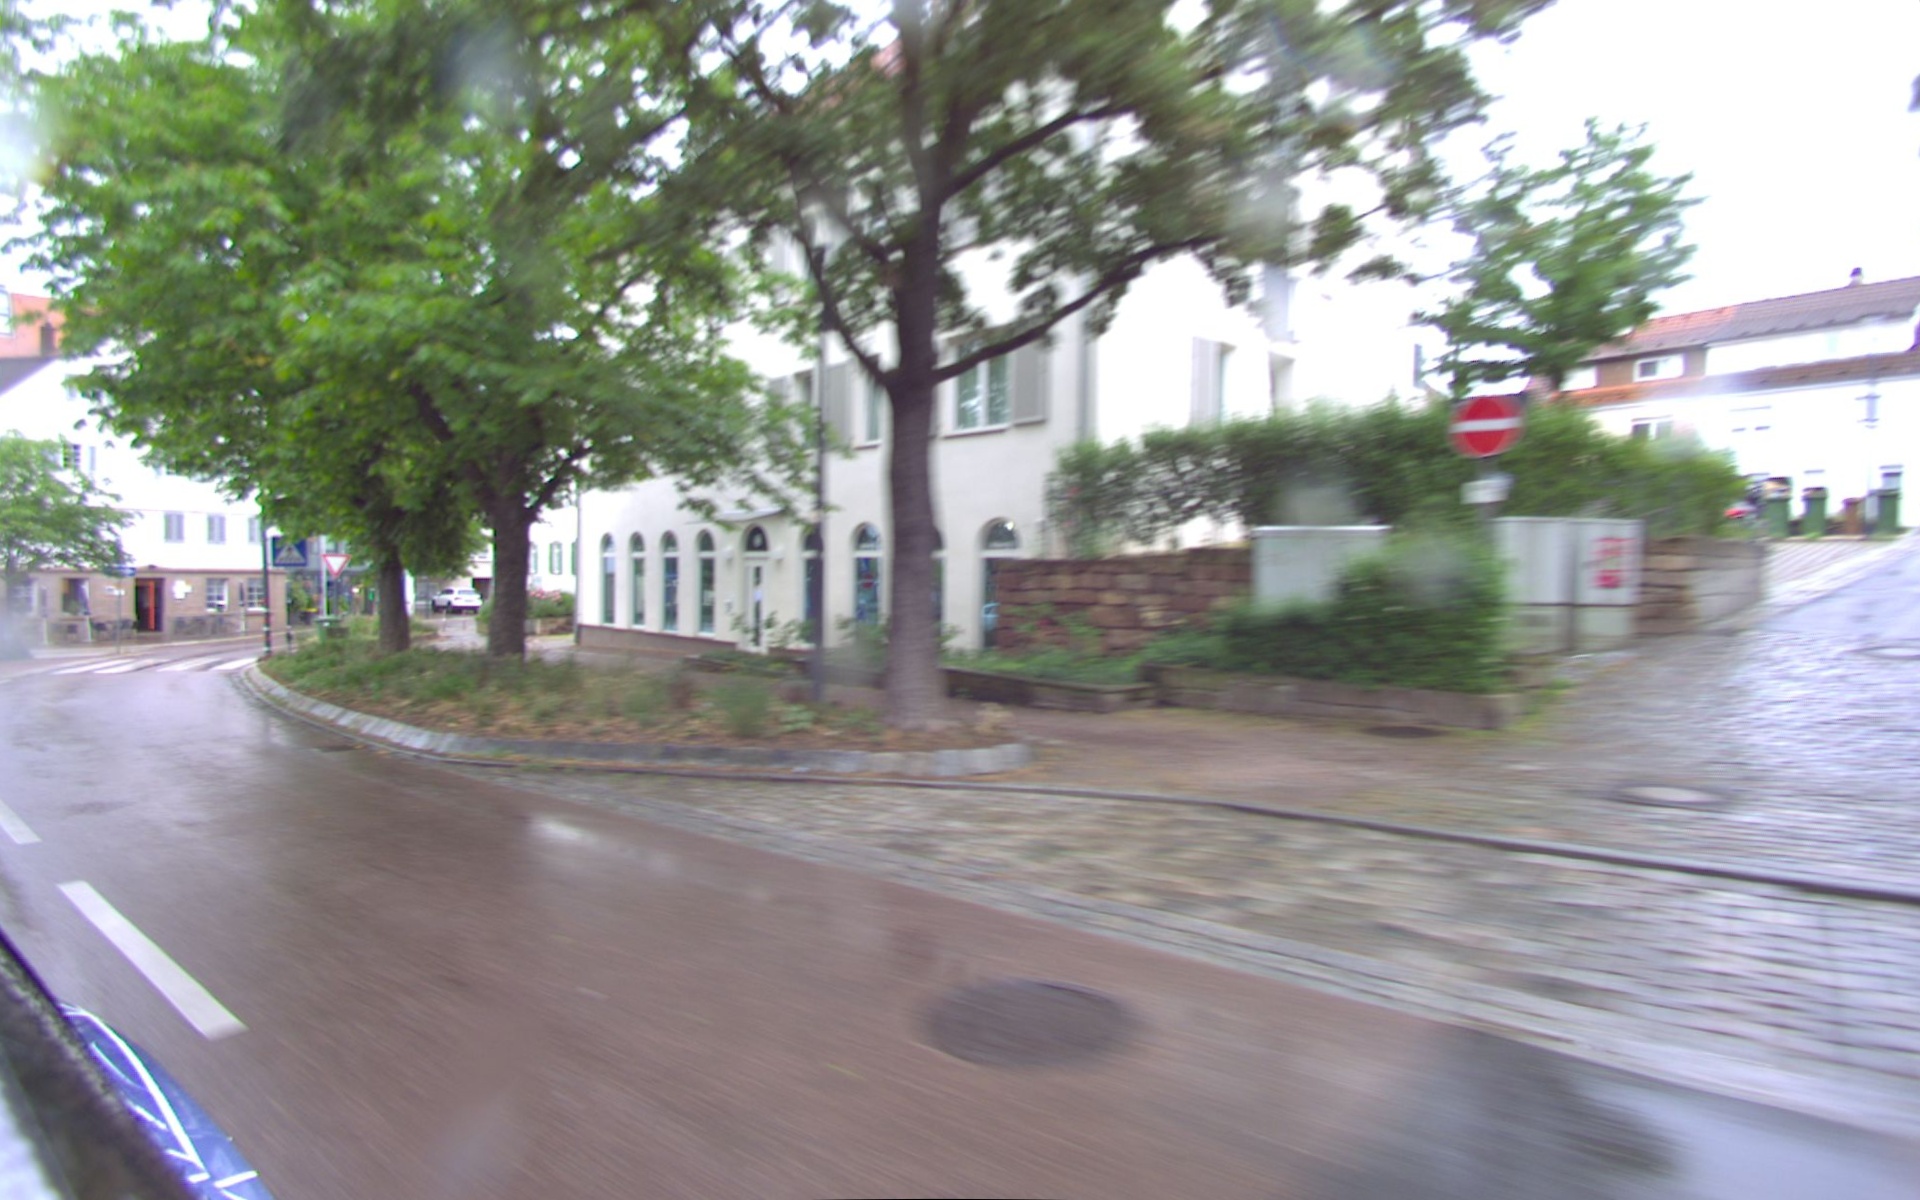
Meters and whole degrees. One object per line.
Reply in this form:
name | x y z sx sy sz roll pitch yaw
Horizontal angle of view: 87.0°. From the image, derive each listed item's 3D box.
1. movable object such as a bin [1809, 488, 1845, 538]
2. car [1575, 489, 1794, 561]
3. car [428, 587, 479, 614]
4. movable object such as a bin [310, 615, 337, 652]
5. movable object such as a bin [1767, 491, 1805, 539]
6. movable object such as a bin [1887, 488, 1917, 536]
movable object such as a bin | 21.004 -2.096 24.521 0.644 1.139 0.678 1 0 42
car | 15.140 -1.573 21.390 3.630 1.353 1.600 1 7 33
car | -32.520 0.025 64.943 1.804 1.634 3.891 1 0 -45
movable object such as a bin | -18.893 1.000 30.054 0.625 1.067 0.700 1 0 -28
movable object such as a bin | 20.539 -2.091 25.164 0.712 1.115 0.678 1 0 42
movable object such as a bin | 21.825 -2.032 23.451 0.496 1.034 0.678 1 0 42
